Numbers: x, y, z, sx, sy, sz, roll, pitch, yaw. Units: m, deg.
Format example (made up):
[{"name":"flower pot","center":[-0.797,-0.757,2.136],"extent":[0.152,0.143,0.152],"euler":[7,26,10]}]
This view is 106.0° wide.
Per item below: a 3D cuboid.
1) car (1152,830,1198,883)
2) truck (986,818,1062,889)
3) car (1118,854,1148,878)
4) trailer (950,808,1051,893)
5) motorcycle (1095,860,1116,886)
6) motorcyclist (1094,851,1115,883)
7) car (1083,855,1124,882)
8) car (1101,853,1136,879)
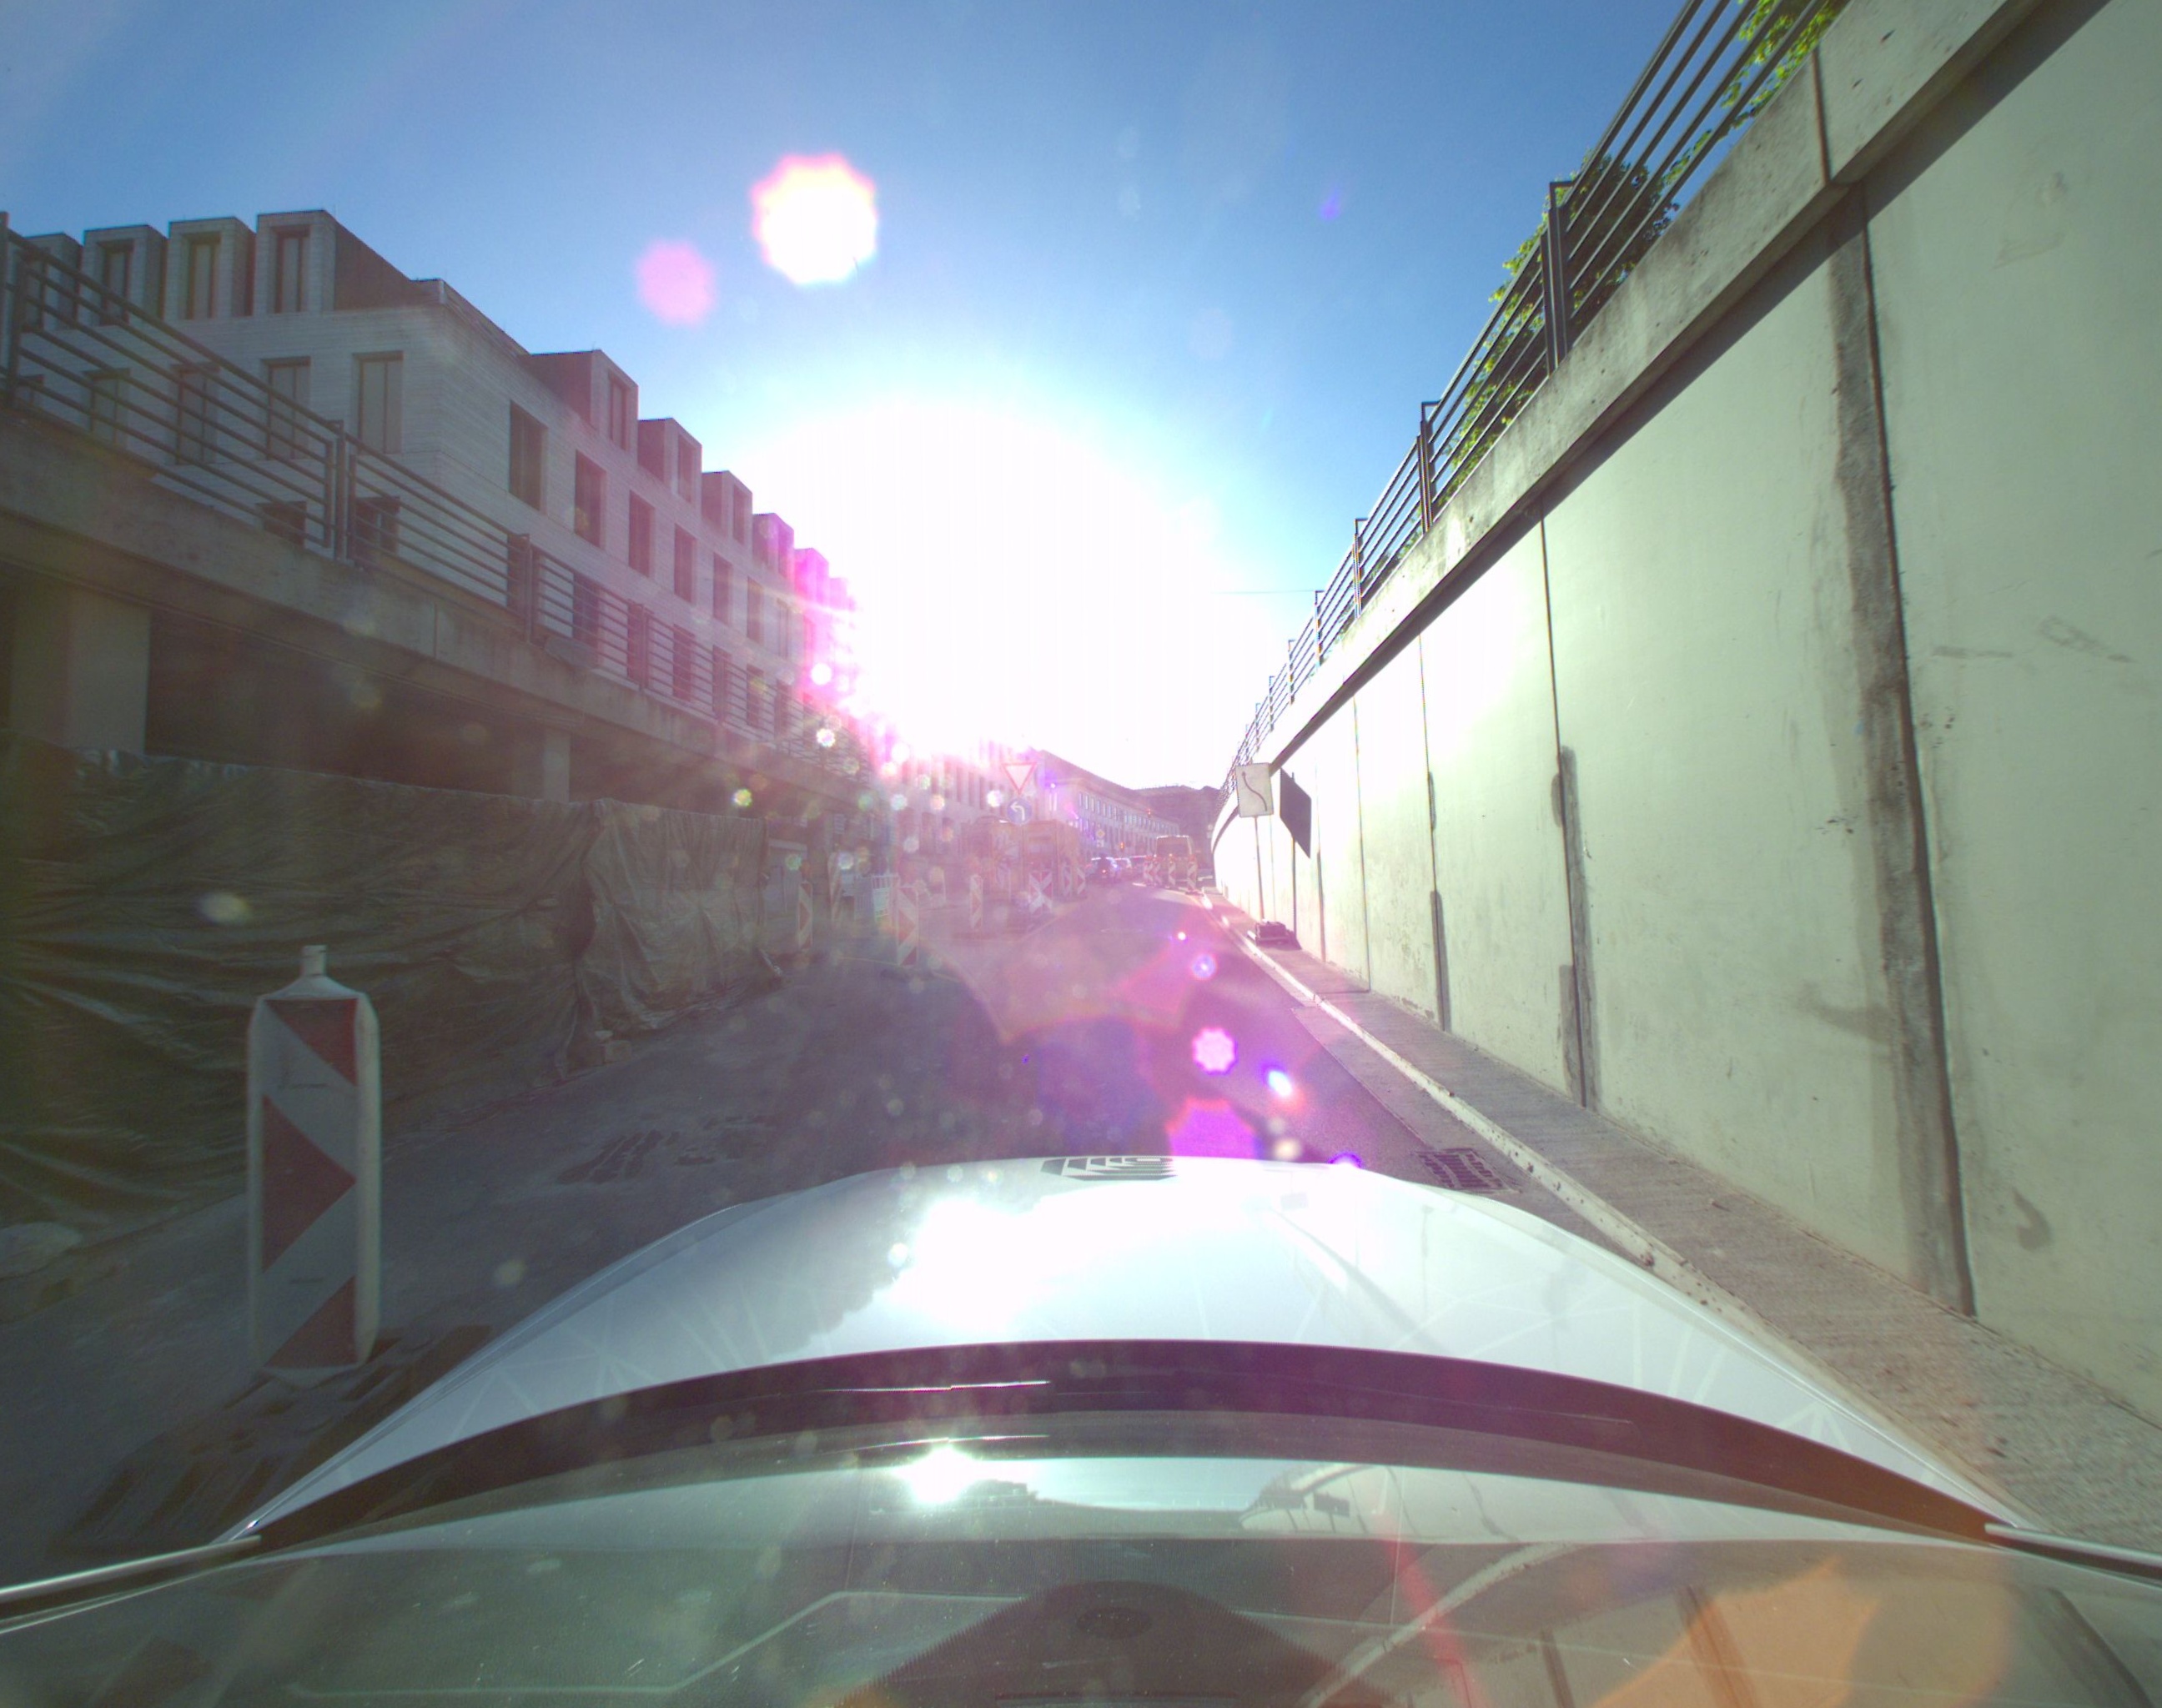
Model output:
[{"name":"car","center":[5.344,0.158,45.442],"extent":[2.099,2.625,7.005],"euler":[-2,-1,9]},{"name":"truck","center":[-3.077,-0.006,45.877],"extent":[2.563,3.489,5.832],"euler":[-6,-1,10]},{"name":"car","center":[4.053,0.916,62.788],"extent":[1.792,1.721,4.174],"euler":[-2,0,10]},{"name":"trailer","center":[-3.866,-0.117,41.720],"extent":[2.626,3.669,8.771],"euler":[-6,-1,9]},{"name":"motorcycle","center":[1.185,0.942,40.455],"extent":[0.903,1.183,2.577],"euler":[-1,0,-1]},{"name":"motorcyclist","center":[1.178,0.628,40.430],"extent":[0.951,1.559,1.238],"euler":[-1,0,-2]},{"name":"car","center":[1.350,0.835,47.501],"extent":[1.848,1.472,4.011],"euler":[-1,0,9]},{"name":"car","center":[2.506,0.801,53.613],"extent":[1.763,1.550,4.116],"euler":[-2,-3,9]}]
